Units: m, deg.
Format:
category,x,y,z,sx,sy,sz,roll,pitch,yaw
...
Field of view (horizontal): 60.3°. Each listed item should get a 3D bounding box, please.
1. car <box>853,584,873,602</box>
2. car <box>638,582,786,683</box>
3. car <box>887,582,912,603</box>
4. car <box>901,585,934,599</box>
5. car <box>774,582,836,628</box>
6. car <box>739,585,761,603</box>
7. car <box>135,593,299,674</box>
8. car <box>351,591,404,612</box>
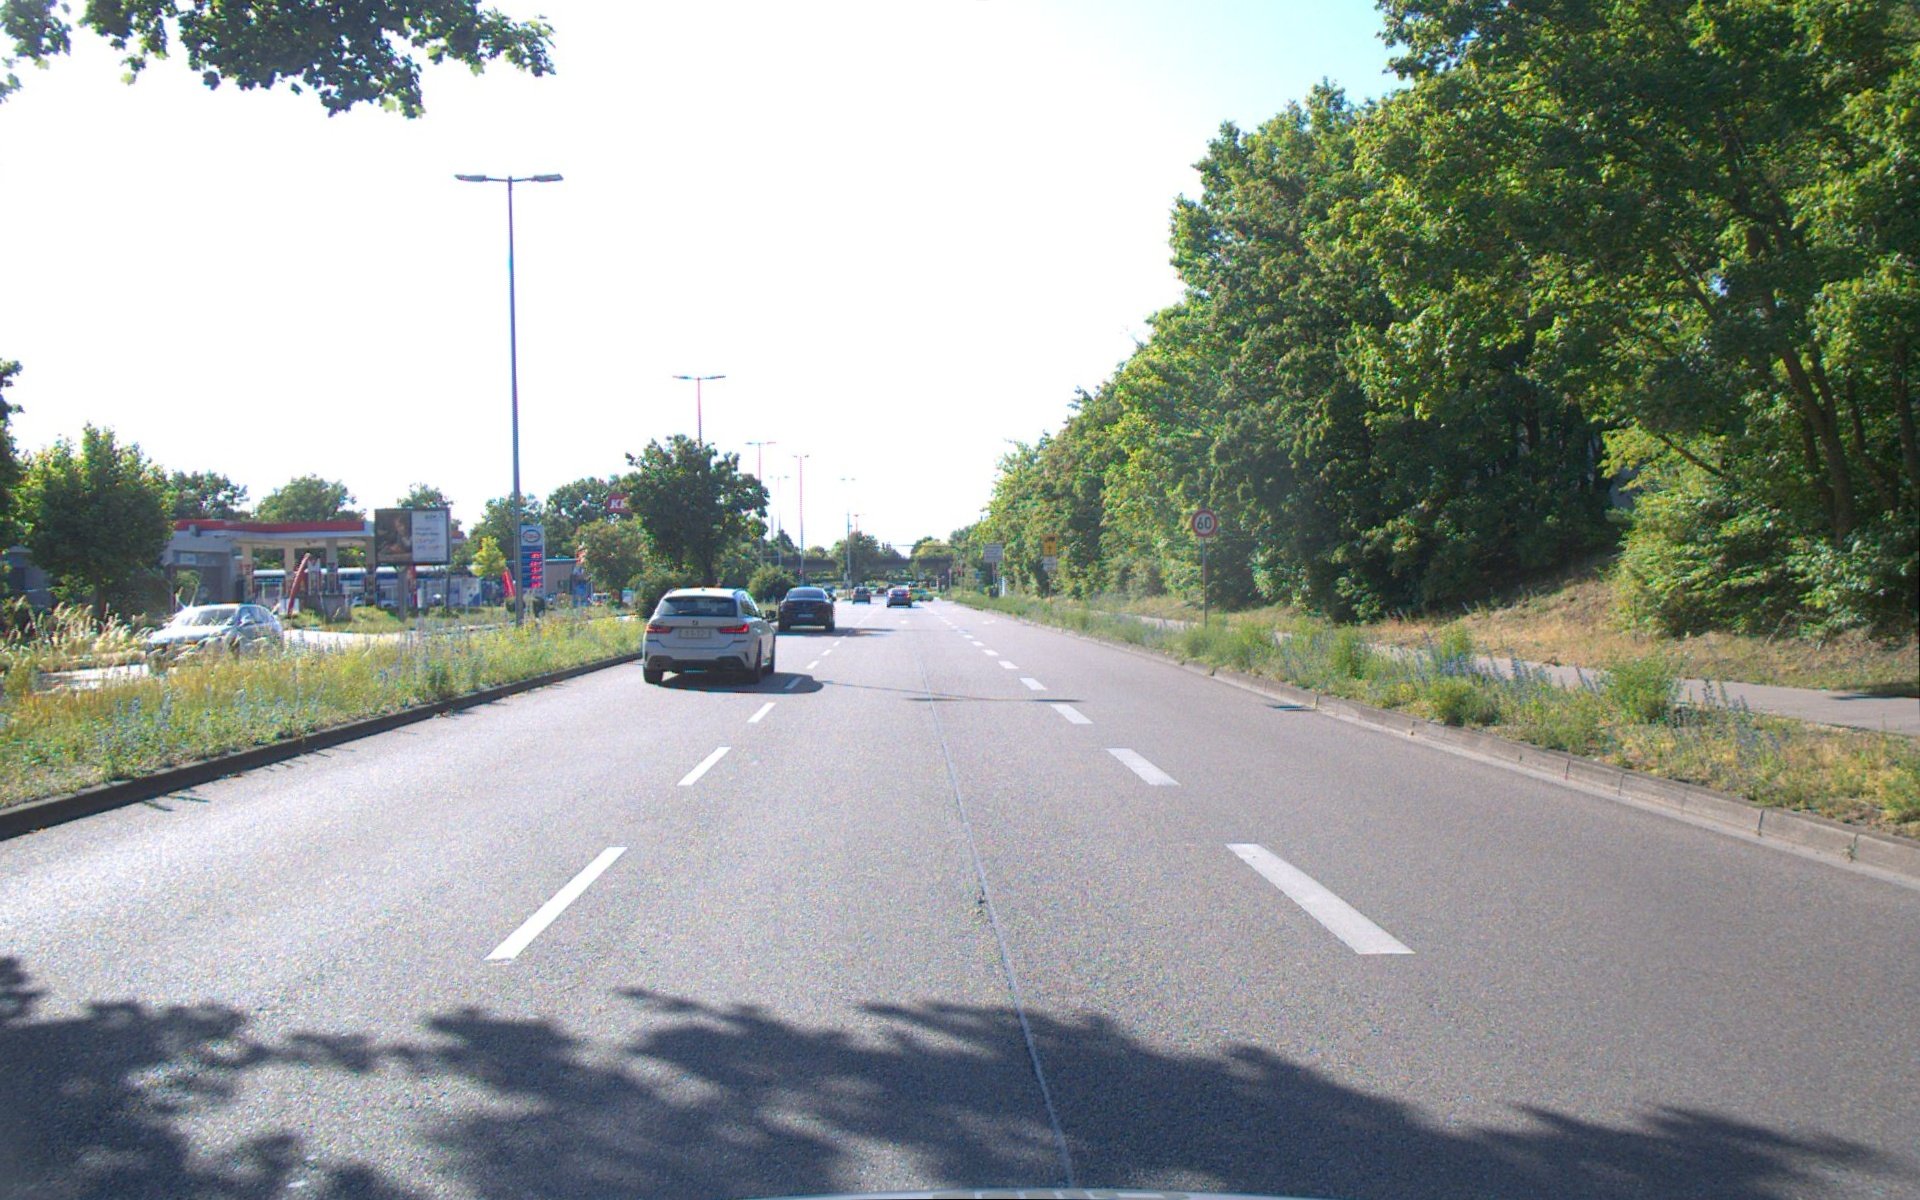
category,x,y,z,sx,sy,sz,roll,pitch,yaw
car,-9.190,-0.664,156.733,1.824,1.592,4.545,-1,1,-2
car,-3.949,0.458,27.006,1.824,1.480,4.546,0,1,-1
car,-4.616,-0.569,125.408,1.824,1.525,4.334,-1,0,-2
car,-4.669,-0.855,181.600,3.387,1.421,1.438,-1,1,30
car,-5.204,0.133,55.973,1.824,1.480,4.545,-1,1,-2
car,-22.335,-0.648,175.953,1.705,1.833,4.670,-4,1,-2
car,-16.786,0.708,37.641,1.720,1.546,4.528,-3,1,-2
car,-54.842,0.088,155.823,4.299,1.875,1.998,-1,0,-5
